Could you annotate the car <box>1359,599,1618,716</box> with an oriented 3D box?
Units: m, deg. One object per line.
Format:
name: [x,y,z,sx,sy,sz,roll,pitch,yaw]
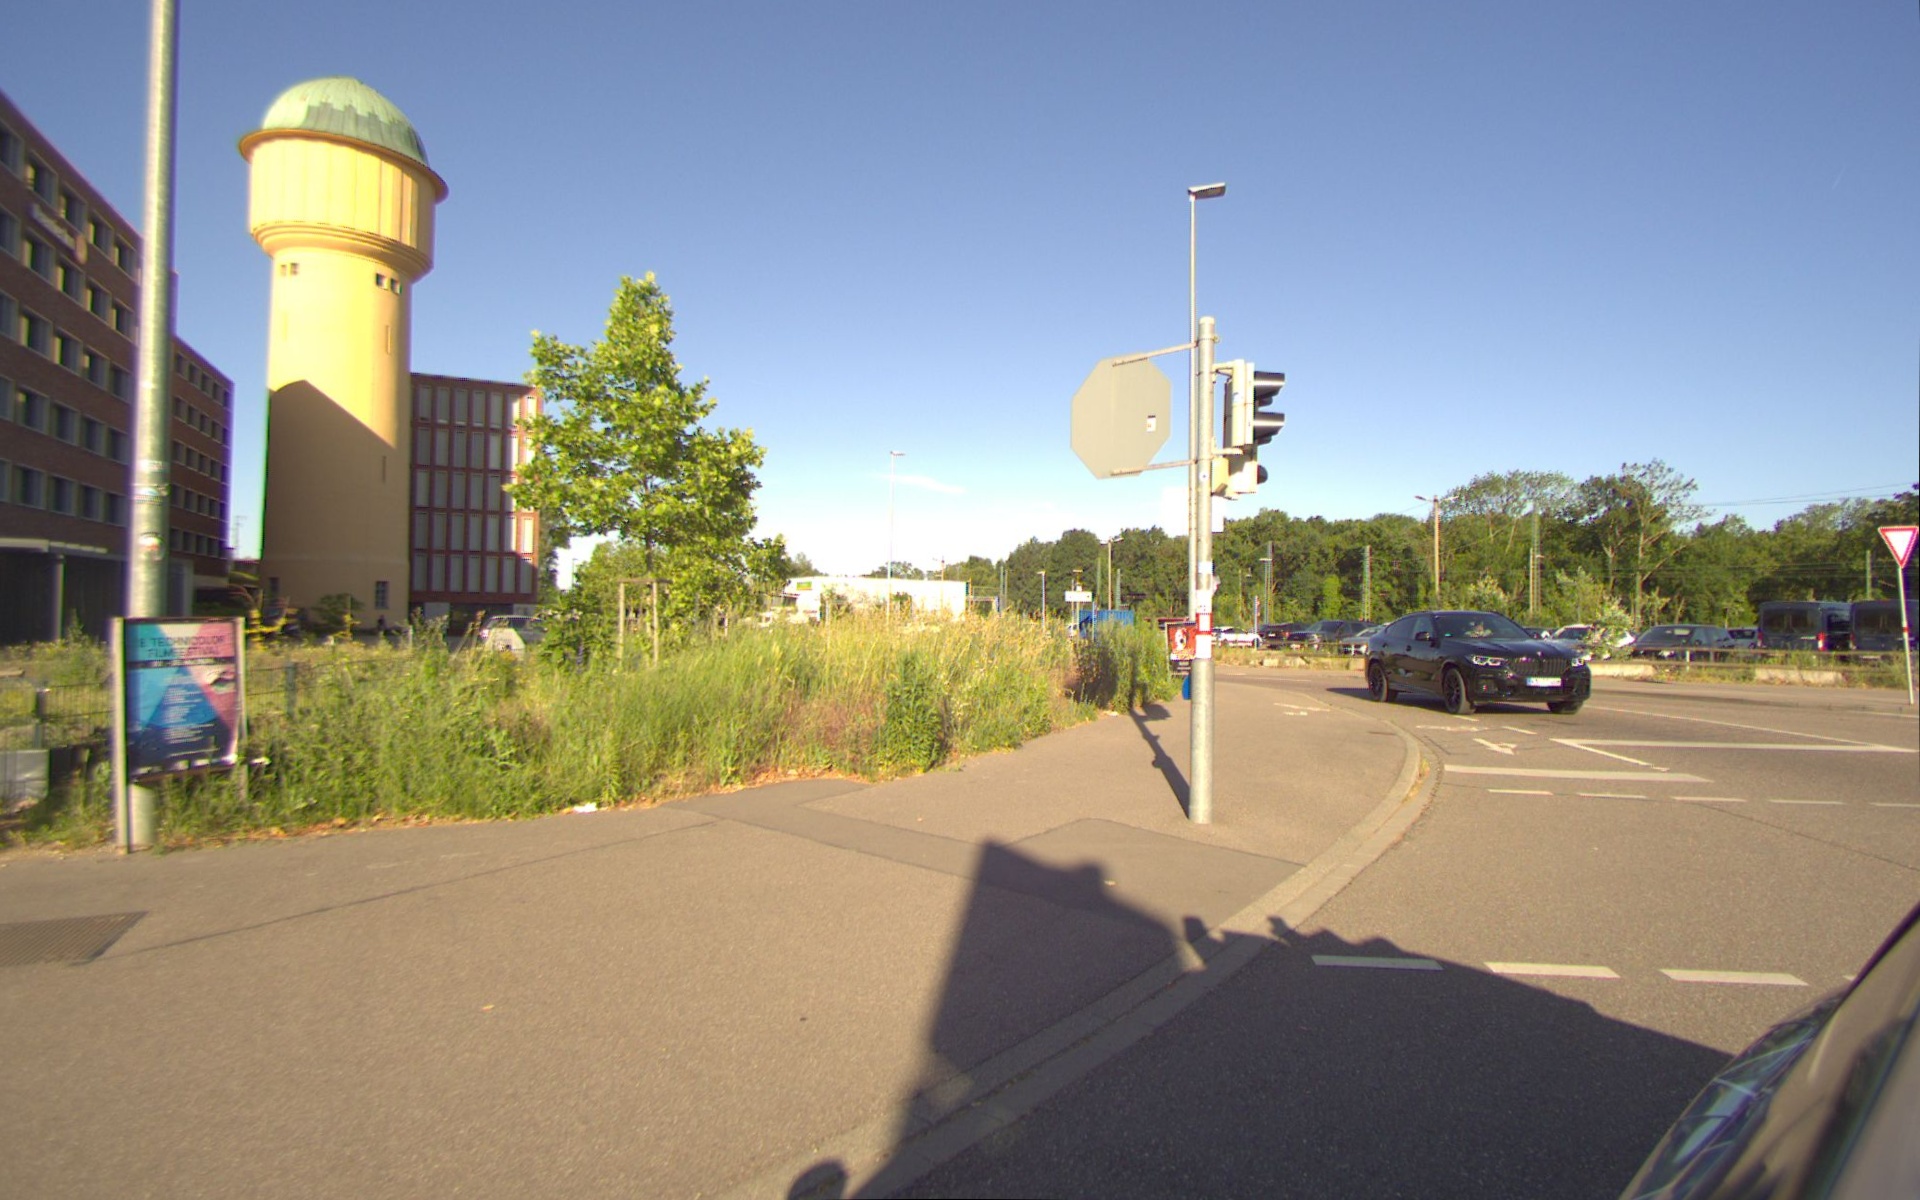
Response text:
car: [8.834,0.896,17.506,2.010,1.736,4.748,-1,-1,1]

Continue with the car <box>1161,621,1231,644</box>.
car: [15.566,2.094,66.722,4.357,1.462,1.871,1,-2,-29]

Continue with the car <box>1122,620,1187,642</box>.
car: [13.799,2.178,71.808,4.357,1.447,1.871,0,-1,-29]

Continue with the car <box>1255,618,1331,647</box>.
car: [19.617,1.901,59.568,4.118,1.610,1.988,-1,-1,-29]

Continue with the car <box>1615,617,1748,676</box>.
car: [22.176,1.383,31.090,4.063,1.676,1.874,0,-2,-32]

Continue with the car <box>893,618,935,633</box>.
car: [-4.764,2.624,105.466,4.077,1.505,1.762,0,-1,-31]

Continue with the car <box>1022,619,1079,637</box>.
car: [7.409,2.302,83.203,4.357,1.395,1.871,0,-1,-29]

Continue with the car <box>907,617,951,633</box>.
car: [-3.155,2.570,103.688,4.213,1.566,1.828,0,-1,-31]

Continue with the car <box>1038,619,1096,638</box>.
car: [8.612,2.259,81.179,4.357,1.395,1.871,0,-1,-29]

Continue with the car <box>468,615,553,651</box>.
car: [-26.239,1.916,59.082,4.438,2.040,2.003,1,-2,-25]

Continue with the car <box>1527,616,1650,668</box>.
car: [20.868,1.373,33.579,3.977,1.631,1.888,1,-2,-32]

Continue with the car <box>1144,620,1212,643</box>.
car: [14.959,2.122,69.395,4.357,1.485,1.871,0,-1,-29]

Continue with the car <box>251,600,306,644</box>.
car: [-37.970,1.223,56.501,1.830,2.293,4.944,1,-2,-26]

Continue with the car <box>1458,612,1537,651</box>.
car: [25.764,1.482,48.487,3.707,1.756,1.771,-1,-1,-34]

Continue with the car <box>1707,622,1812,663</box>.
car: [31.168,1.627,39.470,3.674,1.527,1.836,1,-2,-27]

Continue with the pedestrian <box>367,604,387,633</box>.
pedestrian: [-38.612,1.234,67.004,0.967,1.887,0.882,-1,-2,41]

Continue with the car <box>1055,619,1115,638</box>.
car: [9.765,2.212,78.853,4.357,1.395,1.949,0,-1,-29]

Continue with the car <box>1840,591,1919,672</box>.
car: [32.417,1.050,34.123,5.400,2.549,2.404,1,-2,-29]

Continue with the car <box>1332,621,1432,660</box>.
car: [17.059,1.606,40.886,3.847,1.472,1.840,1,-2,-32]

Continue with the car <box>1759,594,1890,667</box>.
car: [31.013,1.080,36.308,4.391,2.499,2.131,1,-2,-29]

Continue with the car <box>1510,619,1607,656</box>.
car: [27.163,1.668,45.923,3.918,1.615,2.002,1,-2,-27]

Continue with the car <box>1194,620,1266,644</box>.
car: [17.214,2.043,64.503,4.357,1.395,1.871,0,-1,-29]

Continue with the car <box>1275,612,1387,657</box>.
car: [15.955,1.494,43.503,4.445,1.766,2.071,3,-3,-28]

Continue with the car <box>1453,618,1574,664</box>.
car: [19.695,1.442,36.008,3.917,1.535,1.858,1,-2,-26]

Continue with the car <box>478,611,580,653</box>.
car: [-19.940,1.478,46.809,4.244,1.852,2.003,1,-2,-26]
